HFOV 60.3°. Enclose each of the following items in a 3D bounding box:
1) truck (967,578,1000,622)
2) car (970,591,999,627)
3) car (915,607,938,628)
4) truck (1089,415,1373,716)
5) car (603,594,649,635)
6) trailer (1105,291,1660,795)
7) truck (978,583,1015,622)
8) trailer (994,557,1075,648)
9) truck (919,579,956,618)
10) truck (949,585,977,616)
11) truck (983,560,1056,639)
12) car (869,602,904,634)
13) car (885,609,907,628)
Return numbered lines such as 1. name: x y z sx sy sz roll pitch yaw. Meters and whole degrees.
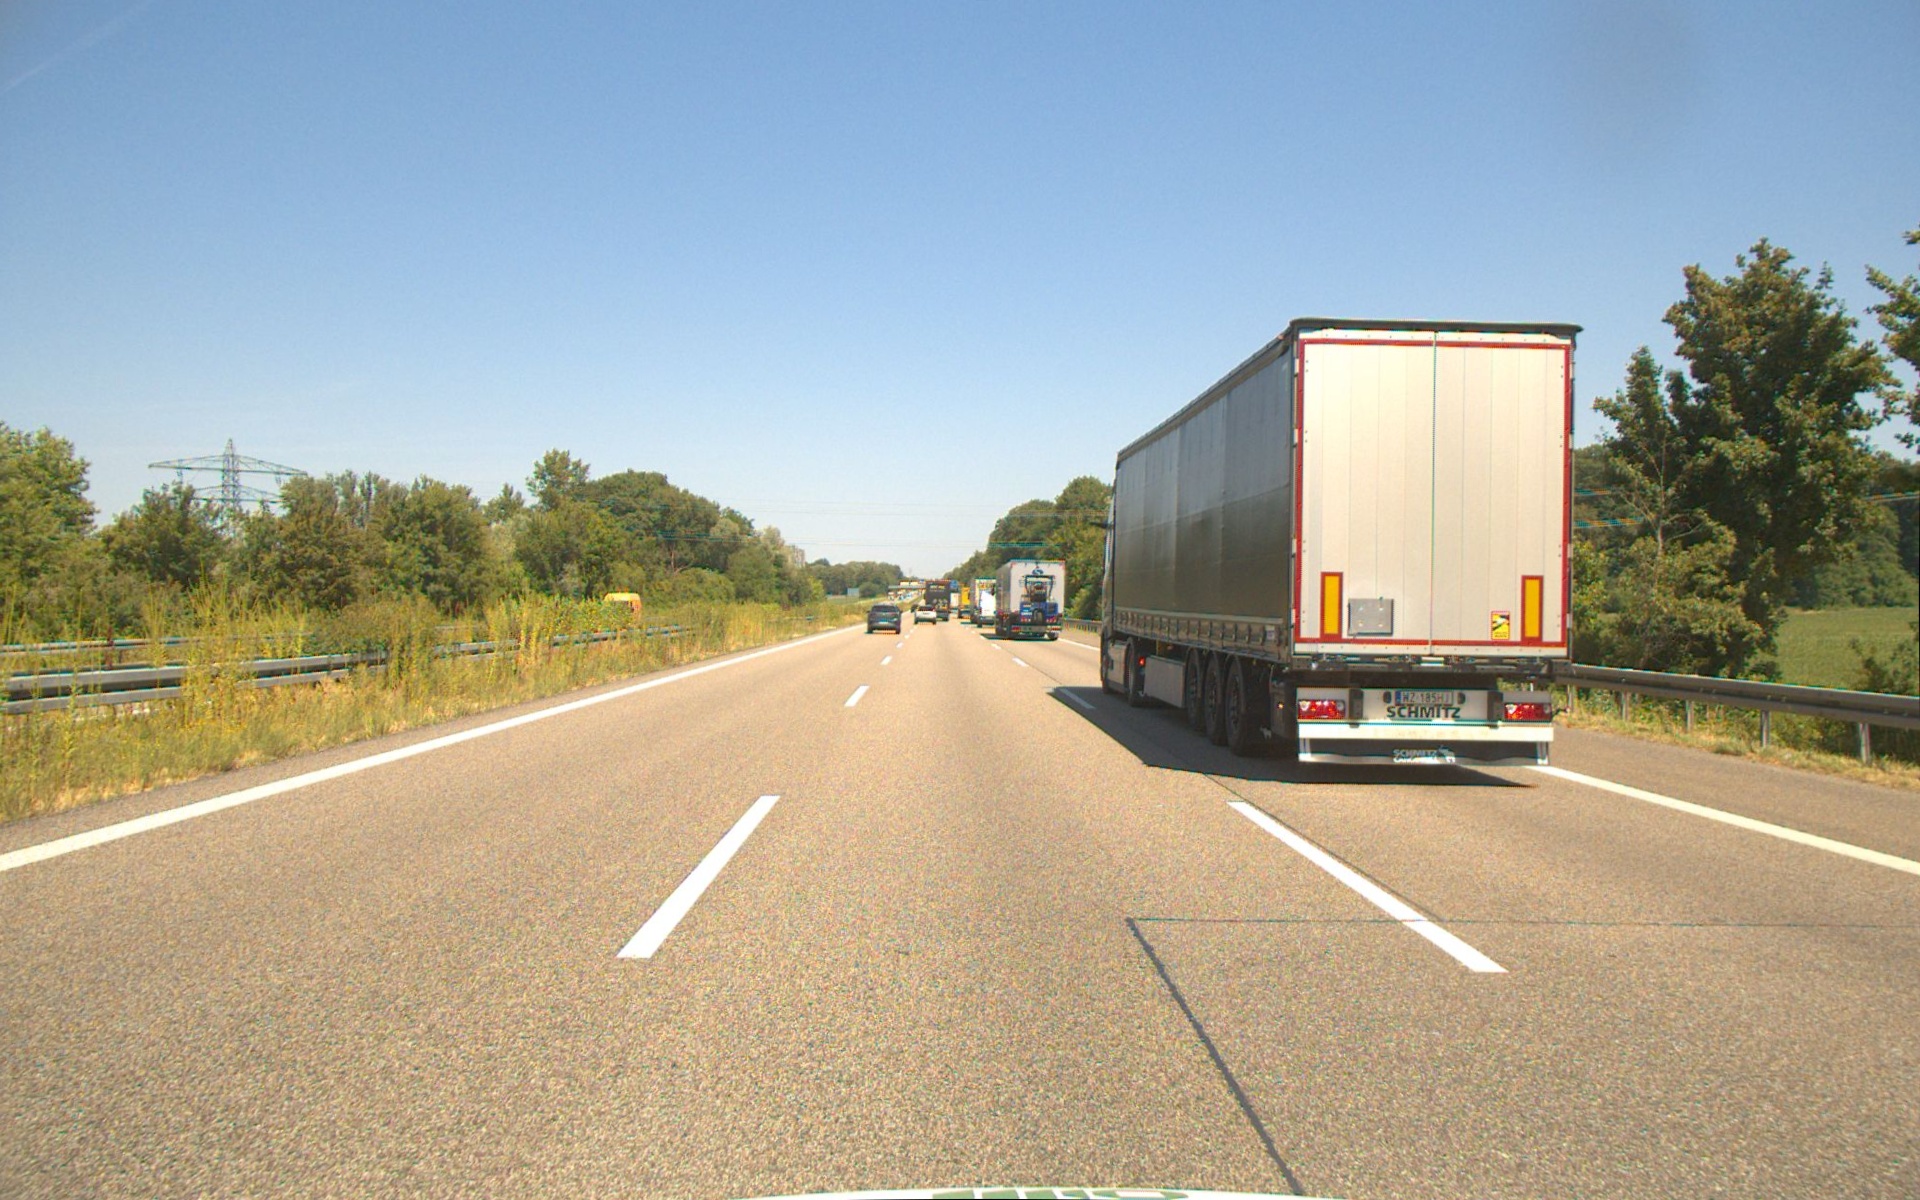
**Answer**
1. truck: 2.032 -0.047 146.848 2.735 3.790 7.108 1 1 0
2. car: 1.770 0.661 120.951 1.869 2.467 4.285 2 1 -1
3. car: -2.746 1.462 136.767 1.862 1.557 4.083 2 1 -1
4. truck: 4.188 -0.456 27.294 3.394 4.250 6.842 1 -1 -1
5. car: -22.037 0.923 109.333 2.060 2.601 6.182 0 1 -3
6. trailer: 4.239 -0.475 21.042 3.365 4.254 13.630 1 0 -1
7. truck: 3.653 0.197 169.436 3.592 3.790 7.108 1 1 0
8. trailer: 3.454 0.032 79.235 3.059 3.995 9.933 1 1 -2
9. truck: -2.253 -0.162 169.030 3.592 3.790 7.108 1 1 0
10. truck: 0.441 -0.014 210.542 3.418 3.790 7.108 1 1 0
11. truck: 3.093 -0.091 89.136 2.997 3.946 10.028 1 1 -3
12. car: -3.935 0.932 88.675 1.723 1.557 4.285 2 1 -1
13. car: -5.875 1.658 151.222 1.862 1.557 4.083 2 1 -1
